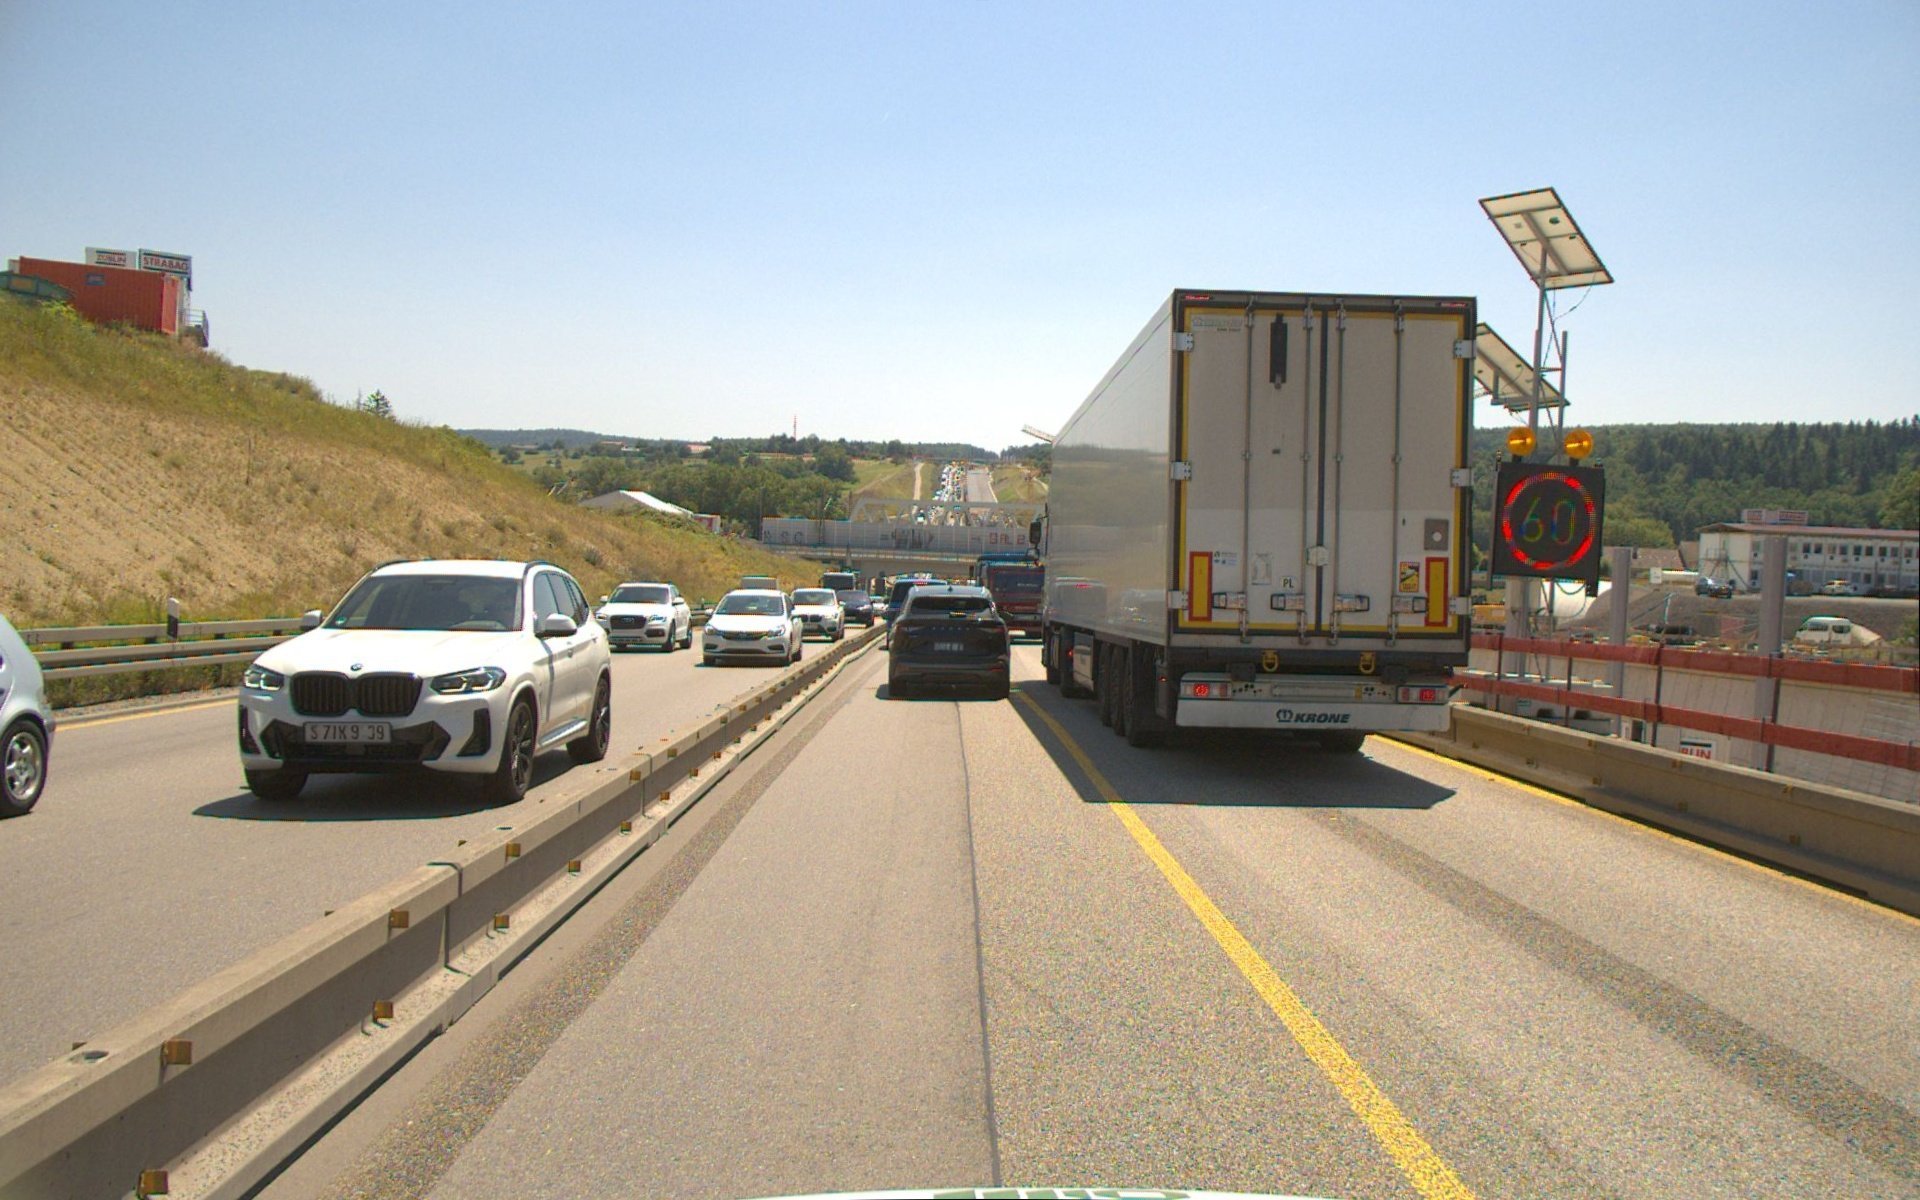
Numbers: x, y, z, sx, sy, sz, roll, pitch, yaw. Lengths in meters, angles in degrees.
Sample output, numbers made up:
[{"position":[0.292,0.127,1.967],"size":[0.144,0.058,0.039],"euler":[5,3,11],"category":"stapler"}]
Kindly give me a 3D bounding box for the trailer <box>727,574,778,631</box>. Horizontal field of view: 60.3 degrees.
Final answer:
[{"position":[-7.817,0.066,62.470],"size":[1.614,2.061,4.267],"euler":[0,0,-3],"category":"trailer"}]

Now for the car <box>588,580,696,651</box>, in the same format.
[{"position":[-7.724,0.346,40.554],"size":[1.861,1.612,4.513],"euler":[1,0,-2],"category":"car"}]

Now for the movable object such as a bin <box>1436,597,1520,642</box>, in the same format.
[{"position":[35.777,1.290,114.686],"size":[2.828,2.960,9.478],"euler":[1,0,0],"category":"movable object such as a bin"}]

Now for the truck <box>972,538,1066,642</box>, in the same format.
[{"position":[1.886,-0.319,58.140],"size":[2.756,3.190,12.836],"euler":[1,0,0],"category":"truck"}]

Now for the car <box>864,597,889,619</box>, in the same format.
[{"position":[-5.690,0.513,113.478],"size":[1.650,1.455,3.291],"euler":[1,0,-2],"category":"car"}]

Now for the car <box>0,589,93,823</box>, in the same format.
[{"position":[-6.608,0.637,9.080],"size":[1.667,1.403,3.966],"euler":[1,0,-2],"category":"car"}]

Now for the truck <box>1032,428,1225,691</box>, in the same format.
[{"position":[2.783,-0.639,28.651],"size":[2.720,4.129,4.903],"euler":[1,0,-1],"category":"truck"}]

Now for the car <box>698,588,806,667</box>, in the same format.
[{"position":[-4.230,0.520,34.166],"size":[1.769,1.503,4.279],"euler":[1,0,-2],"category":"car"}]

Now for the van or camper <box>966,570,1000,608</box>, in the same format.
[{"position":[1.417,-0.689,103.683],"size":[1.953,2.283,4.000],"euler":[2,1,0],"category":"van or camper"}]

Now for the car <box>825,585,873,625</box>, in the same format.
[{"position":[-4.980,0.200,74.514],"size":[1.852,1.738,4.561],"euler":[0,0,0],"category":"car"}]

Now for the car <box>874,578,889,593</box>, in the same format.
[{"position":[-9.379,-1.733,198.402],"size":[1.697,1.825,3.579],"euler":[1,0,-1],"category":"car"}]

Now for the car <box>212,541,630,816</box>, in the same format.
[{"position":[-3.923,0.495,12.940],"size":[1.853,1.738,4.560],"euler":[1,0,-2],"category":"car"}]

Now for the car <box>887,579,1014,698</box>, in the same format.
[{"position":[-0.159,0.522,24.974],"size":[1.764,1.648,3.297],"euler":[1,1,-1],"category":"car"}]

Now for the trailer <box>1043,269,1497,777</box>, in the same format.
[{"position":[2.914,-0.623,20.643],"size":[2.744,4.129,14.113],"euler":[1,0,-1],"category":"trailer"}]

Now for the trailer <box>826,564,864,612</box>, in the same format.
[{"position":[-9.212,-0.958,133.399],"size":[2.534,3.700,9.076],"euler":[1,0,-1],"category":"trailer"}]

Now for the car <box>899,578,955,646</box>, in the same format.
[{"position":[-0.883,0.311,45.919],"size":[1.444,1.826,3.297],"euler":[1,0,0],"category":"car"}]

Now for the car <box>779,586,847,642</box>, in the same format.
[{"position":[-4.507,0.392,51.215],"size":[1.779,1.620,4.289],"euler":[1,0,-2],"category":"car"}]

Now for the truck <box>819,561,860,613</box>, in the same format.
[{"position":[-9.119,-0.975,125.973],"size":[2.534,3.788,9.330],"euler":[1,0,-1],"category":"truck"}]
